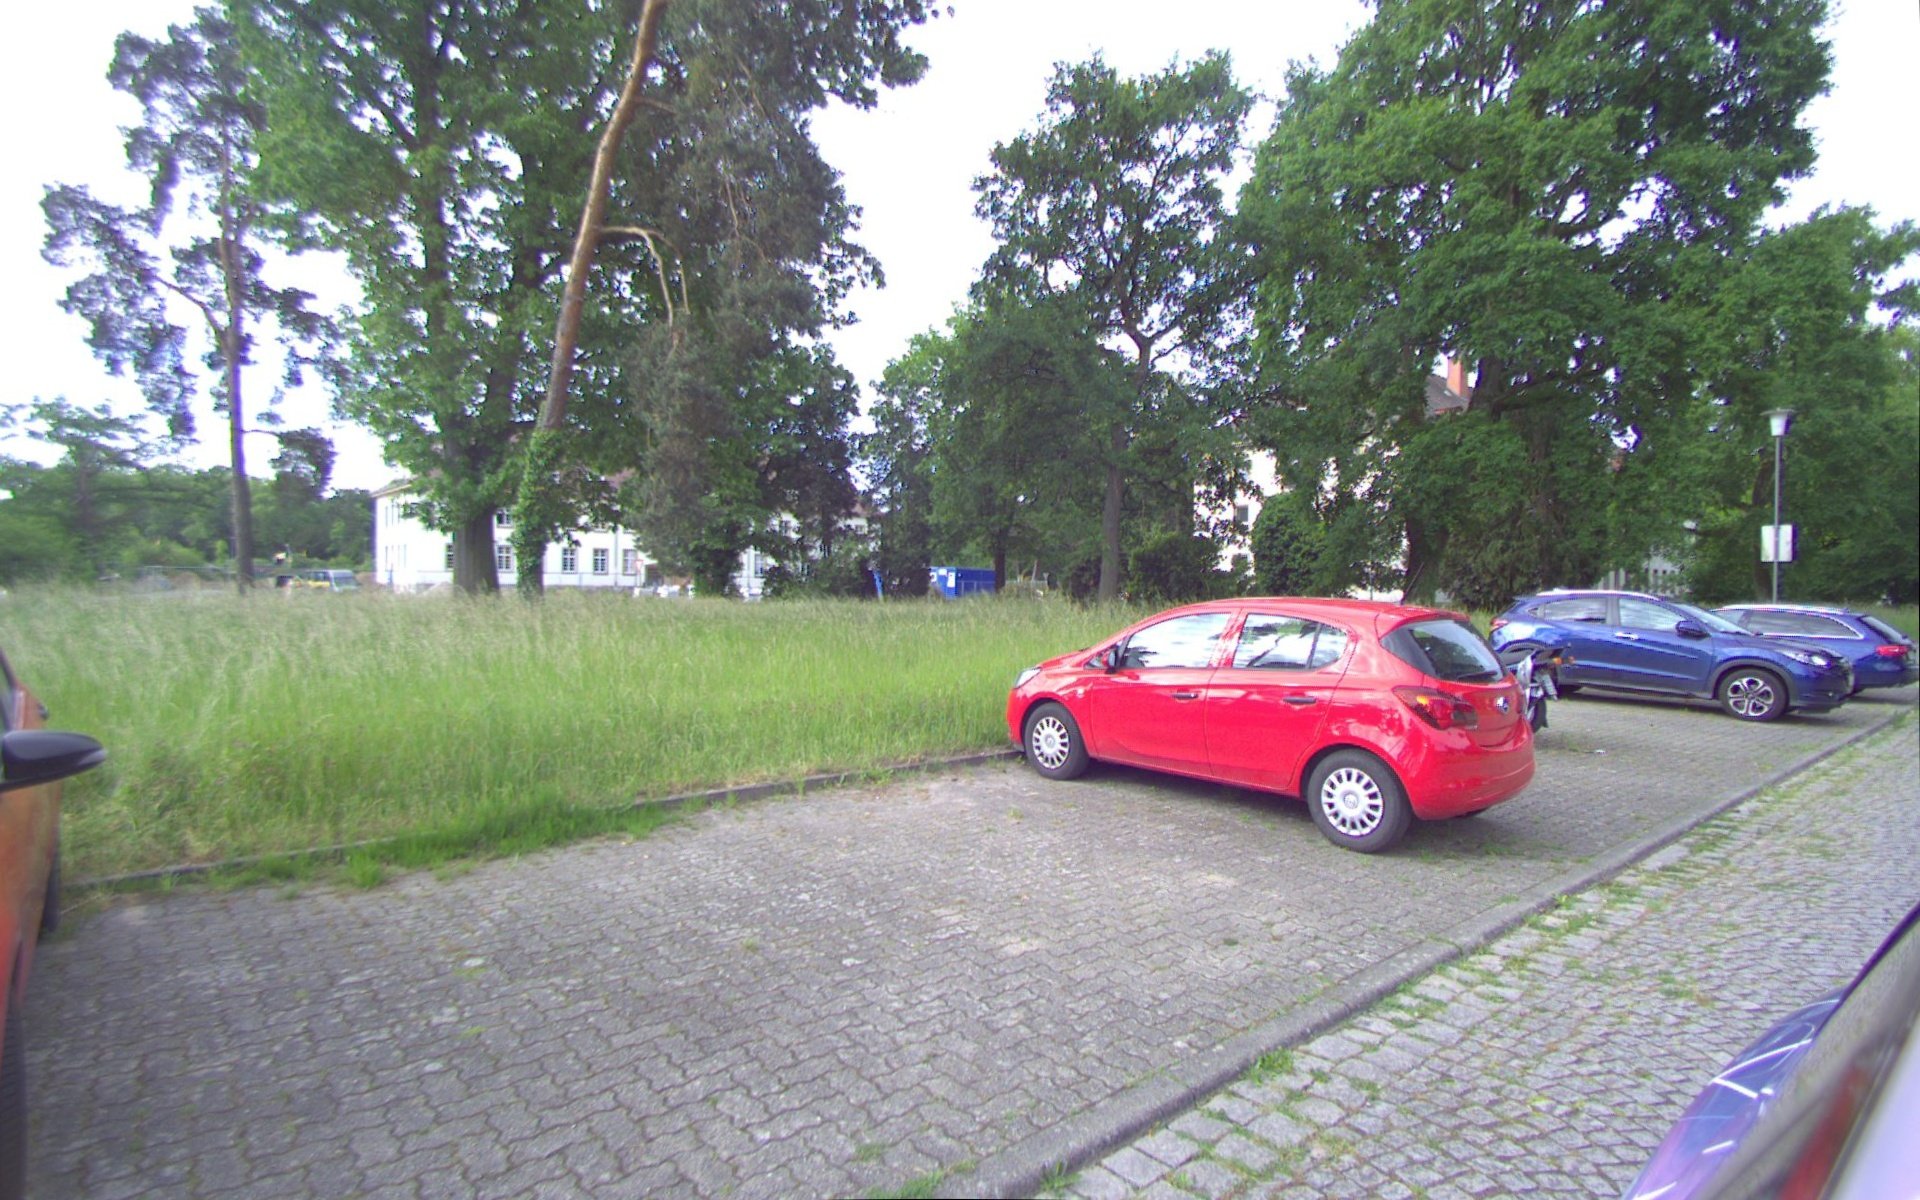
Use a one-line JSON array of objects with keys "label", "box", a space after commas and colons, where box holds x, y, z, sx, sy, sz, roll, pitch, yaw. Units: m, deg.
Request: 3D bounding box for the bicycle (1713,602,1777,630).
[{"label": "bicycle", "box": [31.804, 0.631, 41.004, 1.950, 1.090, 0.584, 0, 0, 22]}]

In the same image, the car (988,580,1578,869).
[{"label": "car", "box": [2.145, 0.641, 7.536, 1.748, 1.478, 3.833, 0, 3, -41]}]

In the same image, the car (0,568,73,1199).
[{"label": "car", "box": [-3.543, 0.678, 2.676, 1.720, 1.478, 3.800, 0, 3, -40]}]

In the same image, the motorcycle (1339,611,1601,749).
[{"label": "motorcycle", "box": [5.301, 0.764, 10.666, 0.782, 1.200, 2.330, 0, 2, -43]}]

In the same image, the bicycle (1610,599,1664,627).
[{"label": "bicycle", "box": [28.929, 0.543, 43.253, 1.839, 1.137, 0.616, 0, 0, 27]}]

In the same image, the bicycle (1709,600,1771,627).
[{"label": "bicycle", "box": [32.977, 0.566, 42.817, 2.009, 1.090, 0.616, 0, 0, 27]}]

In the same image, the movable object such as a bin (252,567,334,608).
[{"label": "movable object such as a bin", "box": [-45.195, -0.825, 68.523, 5.924, 2.688, 2.153, 0, 0, 29]}]

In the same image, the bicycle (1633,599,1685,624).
[{"label": "bicycle", "box": [31.679, 0.506, 45.902, 1.839, 1.137, 0.616, 0, 0, 27]}]

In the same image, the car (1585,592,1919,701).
[{"label": "car", "box": [13.345, 0.663, 17.007, 1.752, 1.439, 4.483, 0, 2, -37]}]

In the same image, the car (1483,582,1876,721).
[{"label": "car", "box": [9.795, 0.567, 14.056, 1.762, 1.591, 4.170, -1, 2, -40]}]
